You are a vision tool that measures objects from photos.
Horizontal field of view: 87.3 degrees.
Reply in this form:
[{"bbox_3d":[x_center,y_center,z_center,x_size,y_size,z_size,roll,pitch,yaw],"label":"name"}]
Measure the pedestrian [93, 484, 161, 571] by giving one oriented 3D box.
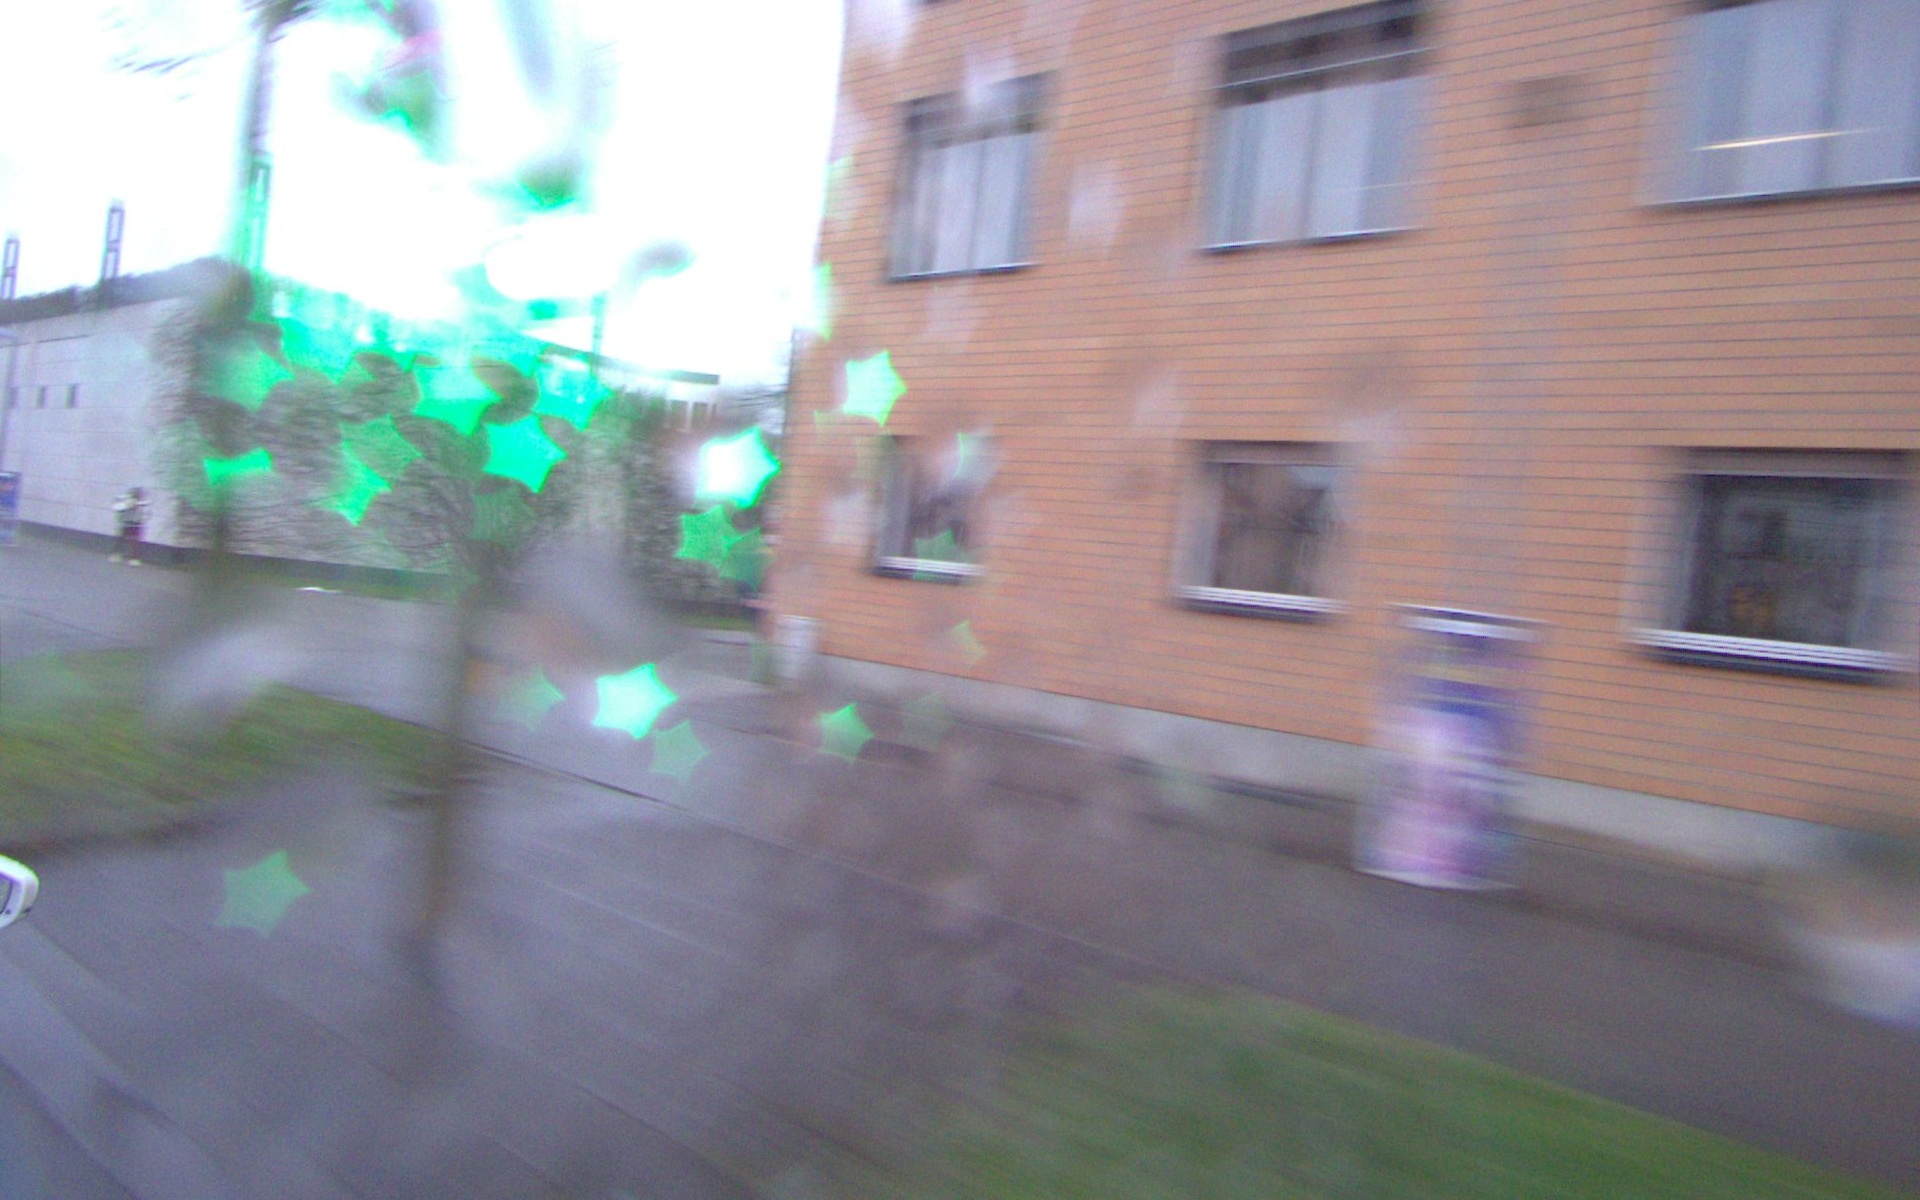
[{"bbox_3d":[-17.225,-1.498,20.809,1.049,1.630,0.622,7,0,29],"label":"pedestrian"}]
